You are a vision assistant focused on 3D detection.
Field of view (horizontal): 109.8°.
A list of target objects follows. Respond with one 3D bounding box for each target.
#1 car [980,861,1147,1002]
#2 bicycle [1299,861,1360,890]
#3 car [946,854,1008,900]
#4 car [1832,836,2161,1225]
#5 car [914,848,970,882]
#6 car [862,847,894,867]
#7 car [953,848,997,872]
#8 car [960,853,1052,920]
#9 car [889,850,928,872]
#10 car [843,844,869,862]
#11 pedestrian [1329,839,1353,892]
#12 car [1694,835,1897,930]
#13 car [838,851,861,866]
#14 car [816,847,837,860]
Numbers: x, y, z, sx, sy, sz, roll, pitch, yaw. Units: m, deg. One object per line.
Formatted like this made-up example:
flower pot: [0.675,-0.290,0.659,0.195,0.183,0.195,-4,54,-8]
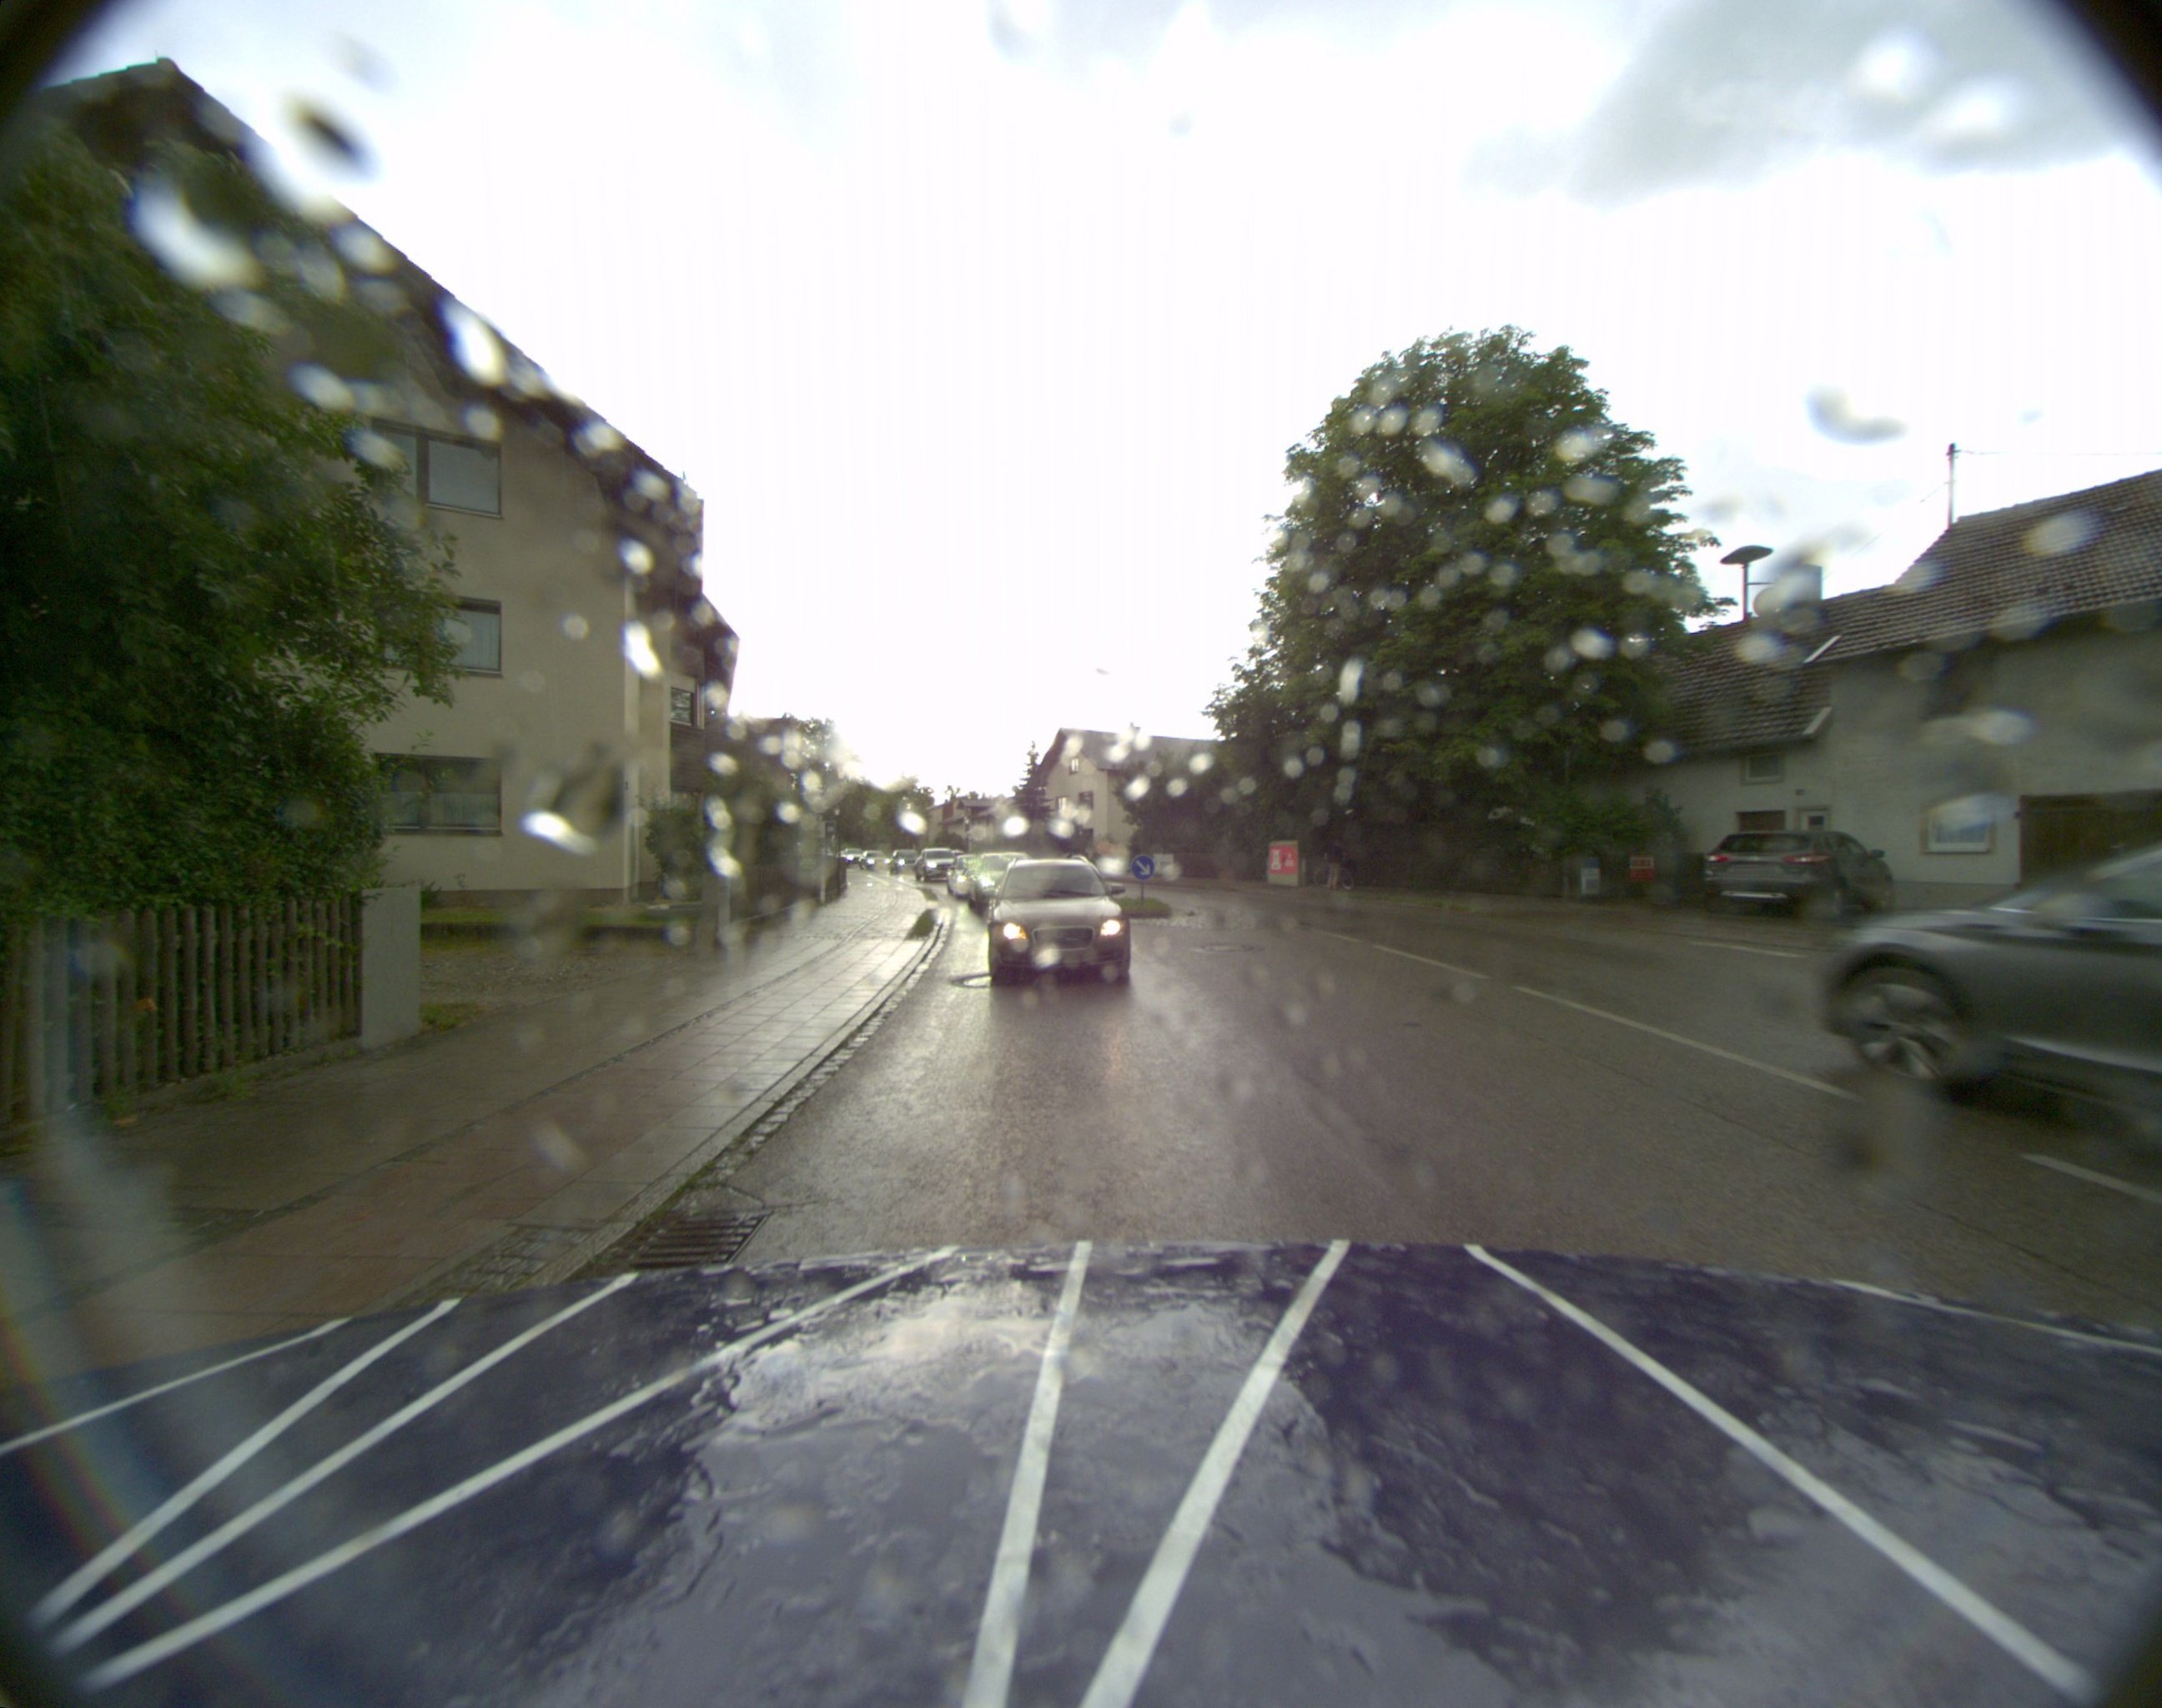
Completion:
car: [-0.408,0.870,10.516,1.795,1.387,4.278,-2,1,-6]
bicycle: [8.047,0.680,24.669,0.665,0.897,1.869,-2,1,-35]
car: [-3.756,0.744,26.891,1.796,1.387,4.276,-2,1,-13]
car: [5.447,0.728,2.466,1.998,1.585,4.192,-2,0,3]
car: [-7.081,0.505,38.342,1.797,1.539,4.272,-3,1,-24]
car: [-16.631,0.254,62.180,1.797,1.539,4.272,-3,1,-24]
car: [-7.150,0.372,50.948,1.820,1.482,4.051,-1,1,-24]
car: [-2.178,0.763,20.559,1.796,1.470,5.379,-2,1,-13]
car: [-11.782,0.455,51.692,1.797,1.365,4.272,-3,1,-24]
car: [-21.547,-0.100,72.758,1.797,1.539,4.272,-3,1,-24]
pedestrian: [8.070,0.354,23.597,0.652,1.619,0.480,0,1,26]
car: [13.466,0.482,14.257,4.289,1.539,1.813,1,0,-34]
car: [-24.919,0.470,81.598,1.797,1.539,4.272,-3,1,-24]
car: [-32.430,-0.064,96.833,1.797,1.539,4.271,-3,1,-27]
